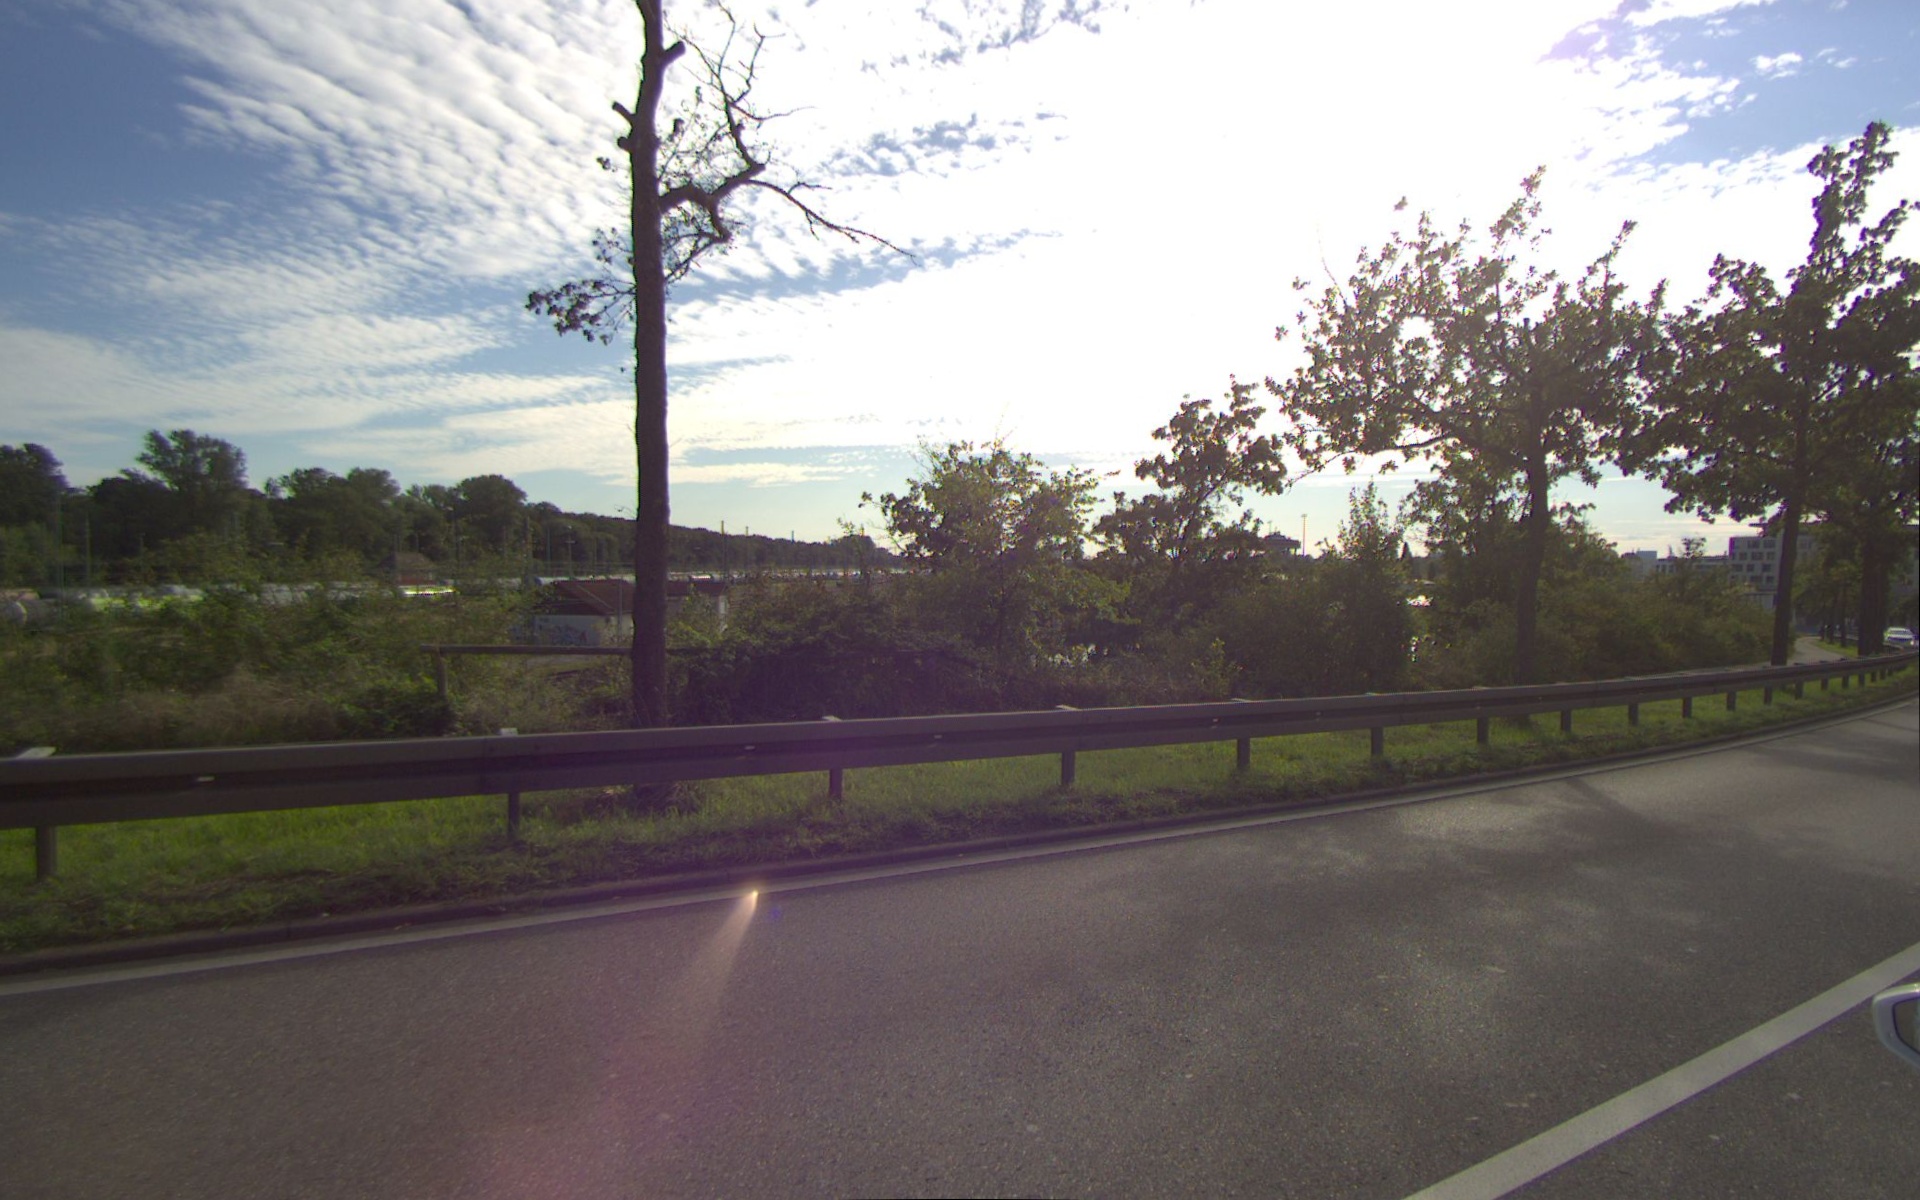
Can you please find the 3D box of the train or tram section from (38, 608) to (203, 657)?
[{"bbox_3d":[-91.026,3.353,109.700,3.034,4.775,16.755,1,0,4],"label":"train or tram section"}]

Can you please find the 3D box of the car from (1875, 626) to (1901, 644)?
[{"bbox_3d":[76.254,2.858,82.546,1.550,1.444,3.570,1,0,43],"label":"car"}]

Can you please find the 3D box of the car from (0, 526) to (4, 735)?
[{"bbox_3d":[-4.578,0.562,1.464,4.246,1.696,1.801,1,-1,-29],"label":"car"}]
